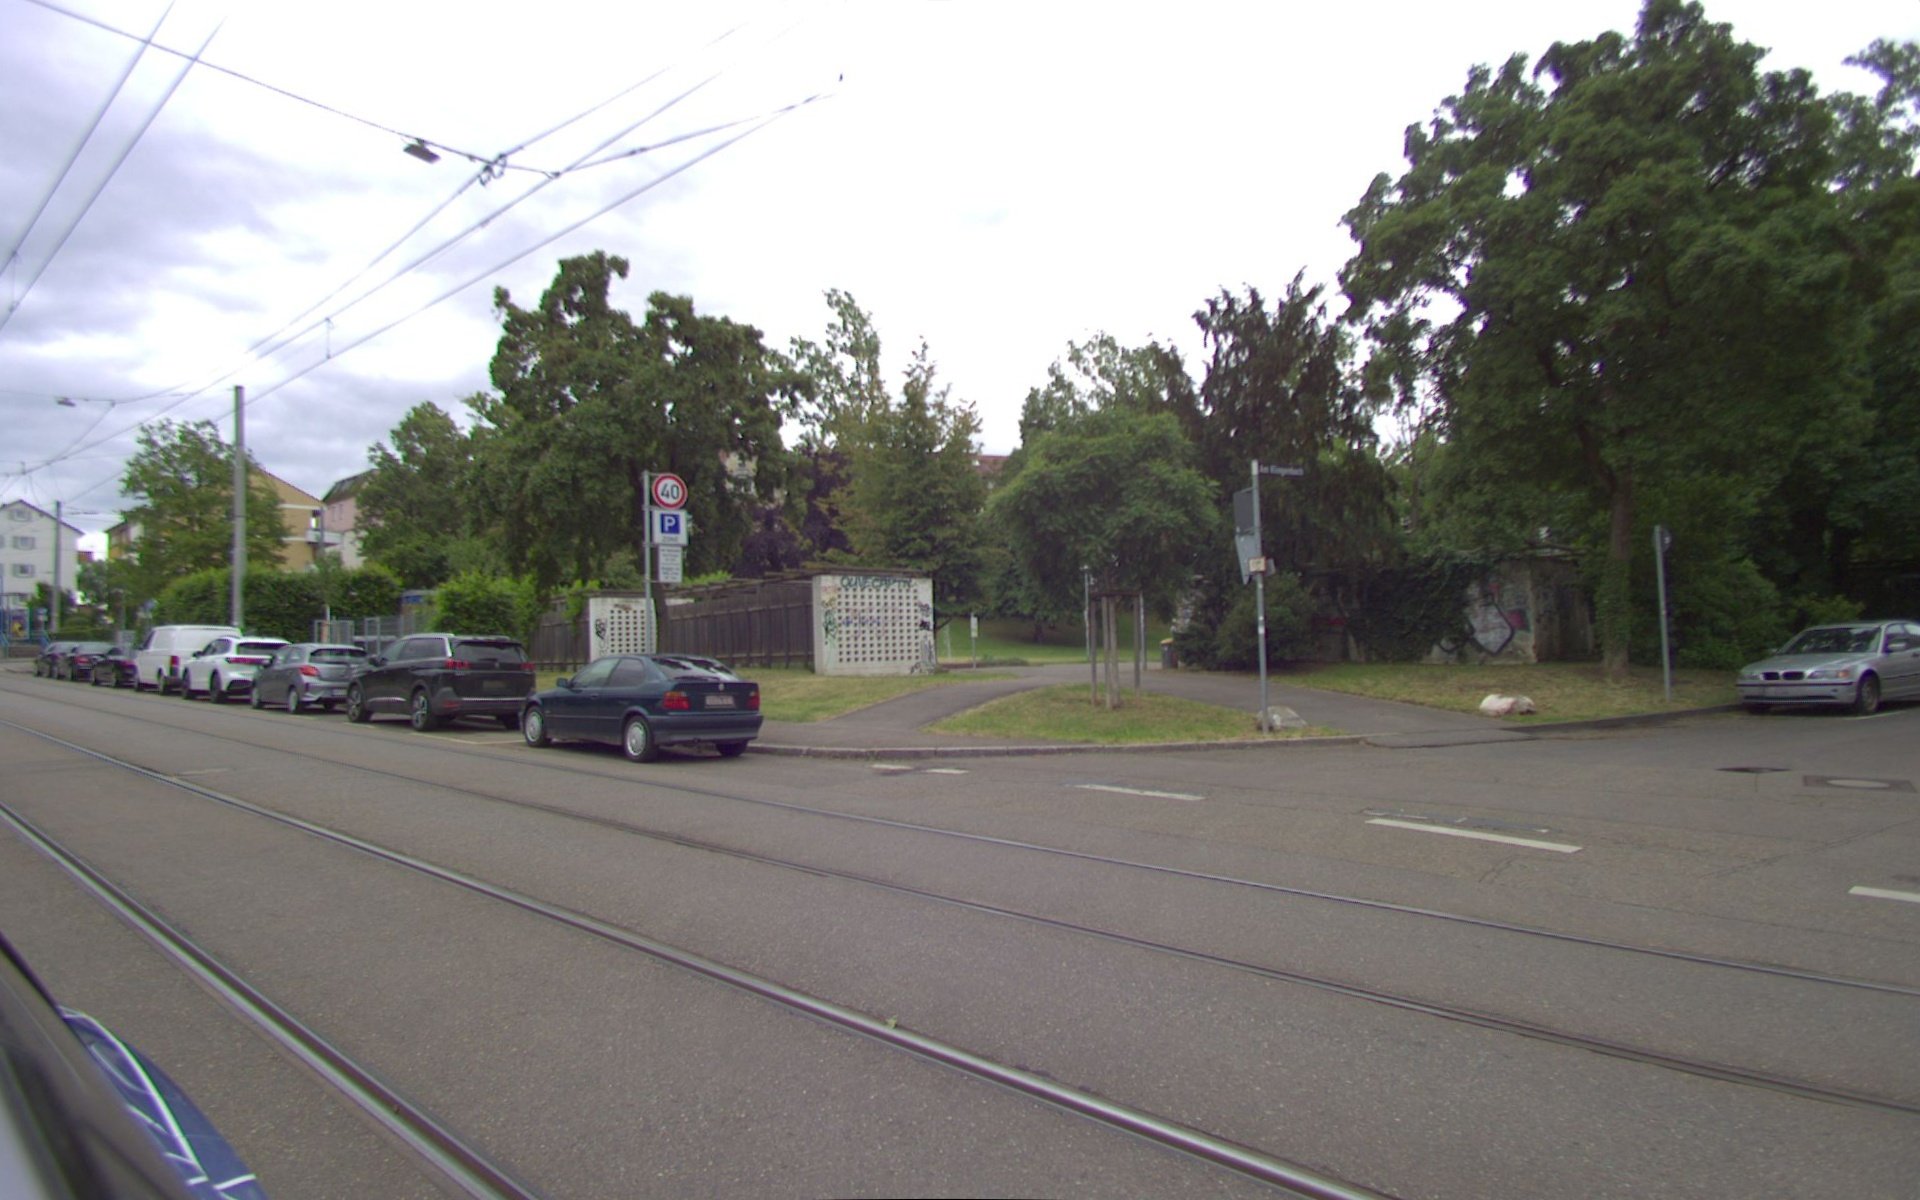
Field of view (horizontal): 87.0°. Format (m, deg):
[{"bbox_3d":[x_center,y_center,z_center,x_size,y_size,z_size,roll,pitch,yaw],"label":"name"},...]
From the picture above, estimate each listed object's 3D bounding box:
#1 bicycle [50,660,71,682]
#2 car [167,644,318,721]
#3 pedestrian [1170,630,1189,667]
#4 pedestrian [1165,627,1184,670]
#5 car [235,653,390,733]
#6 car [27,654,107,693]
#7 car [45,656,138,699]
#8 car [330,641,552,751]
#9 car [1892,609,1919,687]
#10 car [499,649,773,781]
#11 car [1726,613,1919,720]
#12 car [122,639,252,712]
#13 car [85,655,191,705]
[{"bbox_3d":[-53.048,4.187,59.698,1.487,1.190,0.704,-1,-3,41],"label":"bicycle"},{"bbox_3d":[-18.273,2.015,25.702,4.628,1.699,1.949,-1,-3,39],"label":"car"},{"bbox_3d":[8.881,1.965,40.961,0.585,1.496,0.490,-2,-2,41],"label":"pedestrian"},{"bbox_3d":[8.844,2.006,41.796,0.585,1.738,0.490,-2,-2,41],"label":"pedestrian"},{"bbox_3d":[-14.283,1.967,22.255,3.865,1.520,1.721,-1,-3,39],"label":"car"},{"bbox_3d":[-36.261,2.948,41.072,4.157,1.415,1.772,-1,-3,39],"label":"car"},{"bbox_3d":[-31.930,2.803,37.167,4.435,1.398,1.821,-1,-3,39],"label":"car"},{"bbox_3d":[-9.464,1.613,18.319,4.440,1.699,1.949,-1,-3,39],"label":"car"},{"bbox_3d":[19.553,0.861,18.837,3.930,1.430,1.766,0,-2,-23],"label":"car"},{"bbox_3d":[-4.578,1.469,14.026,4.152,1.489,1.604,-1,-3,39],"label":"car"},{"bbox_3d":[14.580,1.010,16.314,3.931,1.451,1.766,-2,-2,-24],"label":"car"},{"bbox_3d":[-22.704,2.143,29.676,4.730,1.927,1.949,-1,-3,39],"label":"car"},{"bbox_3d":[-27.130,2.584,33.358,4.513,1.398,1.821,-1,-3,39],"label":"car"}]
